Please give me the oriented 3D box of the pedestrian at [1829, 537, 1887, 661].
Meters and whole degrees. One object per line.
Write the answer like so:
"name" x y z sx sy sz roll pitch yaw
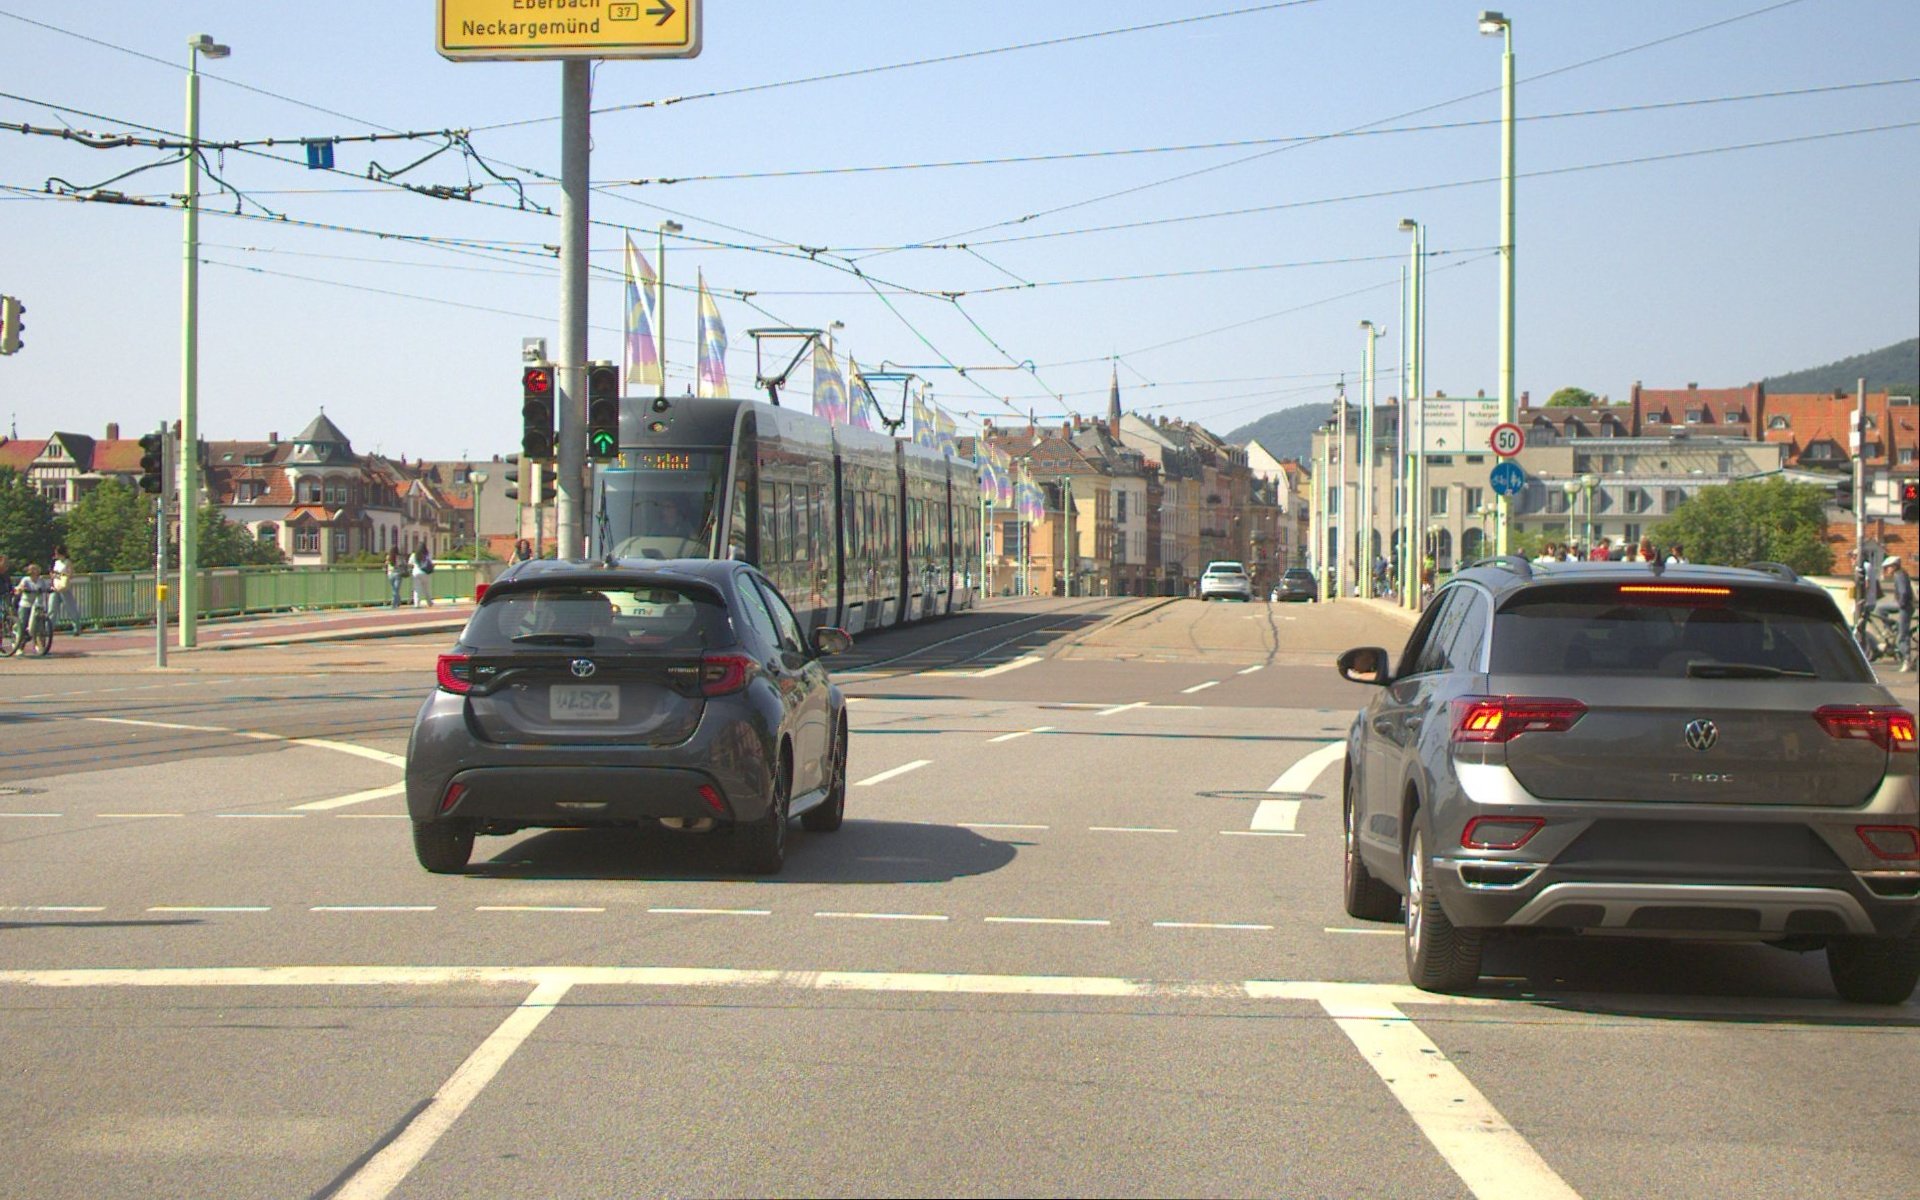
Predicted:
"pedestrian" 13.554 -0.018 51.911 0.774 1.849 0.644 0 1 8

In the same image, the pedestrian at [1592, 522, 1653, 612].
"pedestrian" 12.899 -0.638 66.947 0.985 1.744 0.930 1 0 -1

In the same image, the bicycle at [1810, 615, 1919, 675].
"bicycle" 13.657 0.671 51.029 1.939 0.824 0.565 2 1 9

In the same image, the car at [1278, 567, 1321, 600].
"car" 15.733 -0.770 159.377 1.804 1.464 3.999 -1 0 4

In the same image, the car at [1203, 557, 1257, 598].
"car" 10.014 -0.817 127.533 1.804 1.464 4.000 -1 0 2

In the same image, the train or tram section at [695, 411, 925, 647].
"train or tram section" -2.456 -1.226 59.591 2.538 3.764 9.167 0 1 7

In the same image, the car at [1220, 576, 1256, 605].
"car" 16.836 -0.574 208.313 1.994 1.711 4.000 1 0 3

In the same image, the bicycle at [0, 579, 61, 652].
"bicycle" -16.080 0.253 57.559 1.968 1.205 0.640 0 1 -17

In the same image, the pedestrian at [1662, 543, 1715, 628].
"pedestrian" 14.170 -0.282 66.898 0.799 1.629 0.950 1 0 -1

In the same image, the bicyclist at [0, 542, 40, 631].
"bicyclist" -15.863 -0.231 57.612 0.823 1.488 0.877 0 1 -17

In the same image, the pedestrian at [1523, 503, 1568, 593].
"pedestrian" 13.066 -1.155 76.766 0.803 2.007 0.954 1 0 -1

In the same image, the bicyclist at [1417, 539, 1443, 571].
"bicyclist" 15.913 -1.523 116.378 0.666 1.041 0.980 -4 0 -1

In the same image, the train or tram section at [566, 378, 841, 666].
"train or tram section" -3.536 -1.111 49.715 2.537 3.764 9.168 0 1 5

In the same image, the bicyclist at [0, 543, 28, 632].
"bicyclist" -15.917 -0.207 56.734 1.003 1.444 0.816 0 1 -17

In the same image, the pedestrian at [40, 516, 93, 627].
"pedestrian" -16.325 -0.526 62.825 0.898 2.007 0.834 0 1 -17

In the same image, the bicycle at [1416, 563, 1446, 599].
"bicycle" 15.959 -0.655 116.528 0.695 1.189 2.079 0 -1 -1

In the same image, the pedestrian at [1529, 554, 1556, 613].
"pedestrian" 15.640 -0.443 92.309 0.649 1.557 0.692 0 1 3

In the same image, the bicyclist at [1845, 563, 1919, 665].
"bicyclist" 13.759 0.204 51.053 1.080 1.469 0.800 2 1 9

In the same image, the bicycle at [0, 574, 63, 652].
"bicycle" -15.976 0.211 56.711 2.236 1.274 0.740 0 1 -17

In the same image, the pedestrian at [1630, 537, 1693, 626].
"pedestrian" 14.061 -0.367 68.974 0.985 1.763 1.254 0 1 -1

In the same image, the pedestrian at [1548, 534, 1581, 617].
"pedestrian" 13.102 -0.524 74.525 0.549 1.793 0.646 1 0 -1

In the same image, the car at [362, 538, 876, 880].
"car" -1.593 0.465 17.497 1.910 1.535 3.999 0 1 5

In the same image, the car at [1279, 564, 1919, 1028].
"car" 2.380 0.624 13.309 1.929 1.510 3.993 0 1 0

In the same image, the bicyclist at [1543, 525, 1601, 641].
"bicyclist" 9.351 -0.261 52.557 0.673 1.738 1.150 0 0 0

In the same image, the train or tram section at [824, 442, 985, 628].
"train or tram section" -1.093 -1.434 75.633 2.470 3.764 11.849 0 1 4

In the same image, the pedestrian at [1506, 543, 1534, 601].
"pedestrian" 17.007 -0.849 104.459 0.654 1.738 0.978 1 2 0

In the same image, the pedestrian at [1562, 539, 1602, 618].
"pedestrian" 13.572 -0.464 75.027 0.695 1.711 0.732 1 0 -1

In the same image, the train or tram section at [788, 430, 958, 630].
"train or tram section" -1.603 -1.377 67.741 2.404 3.668 9.618 0 1 4

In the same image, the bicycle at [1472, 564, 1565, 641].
"bicycle" 8.262 0.020 51.028 0.792 1.092 3.744 0 0 0
